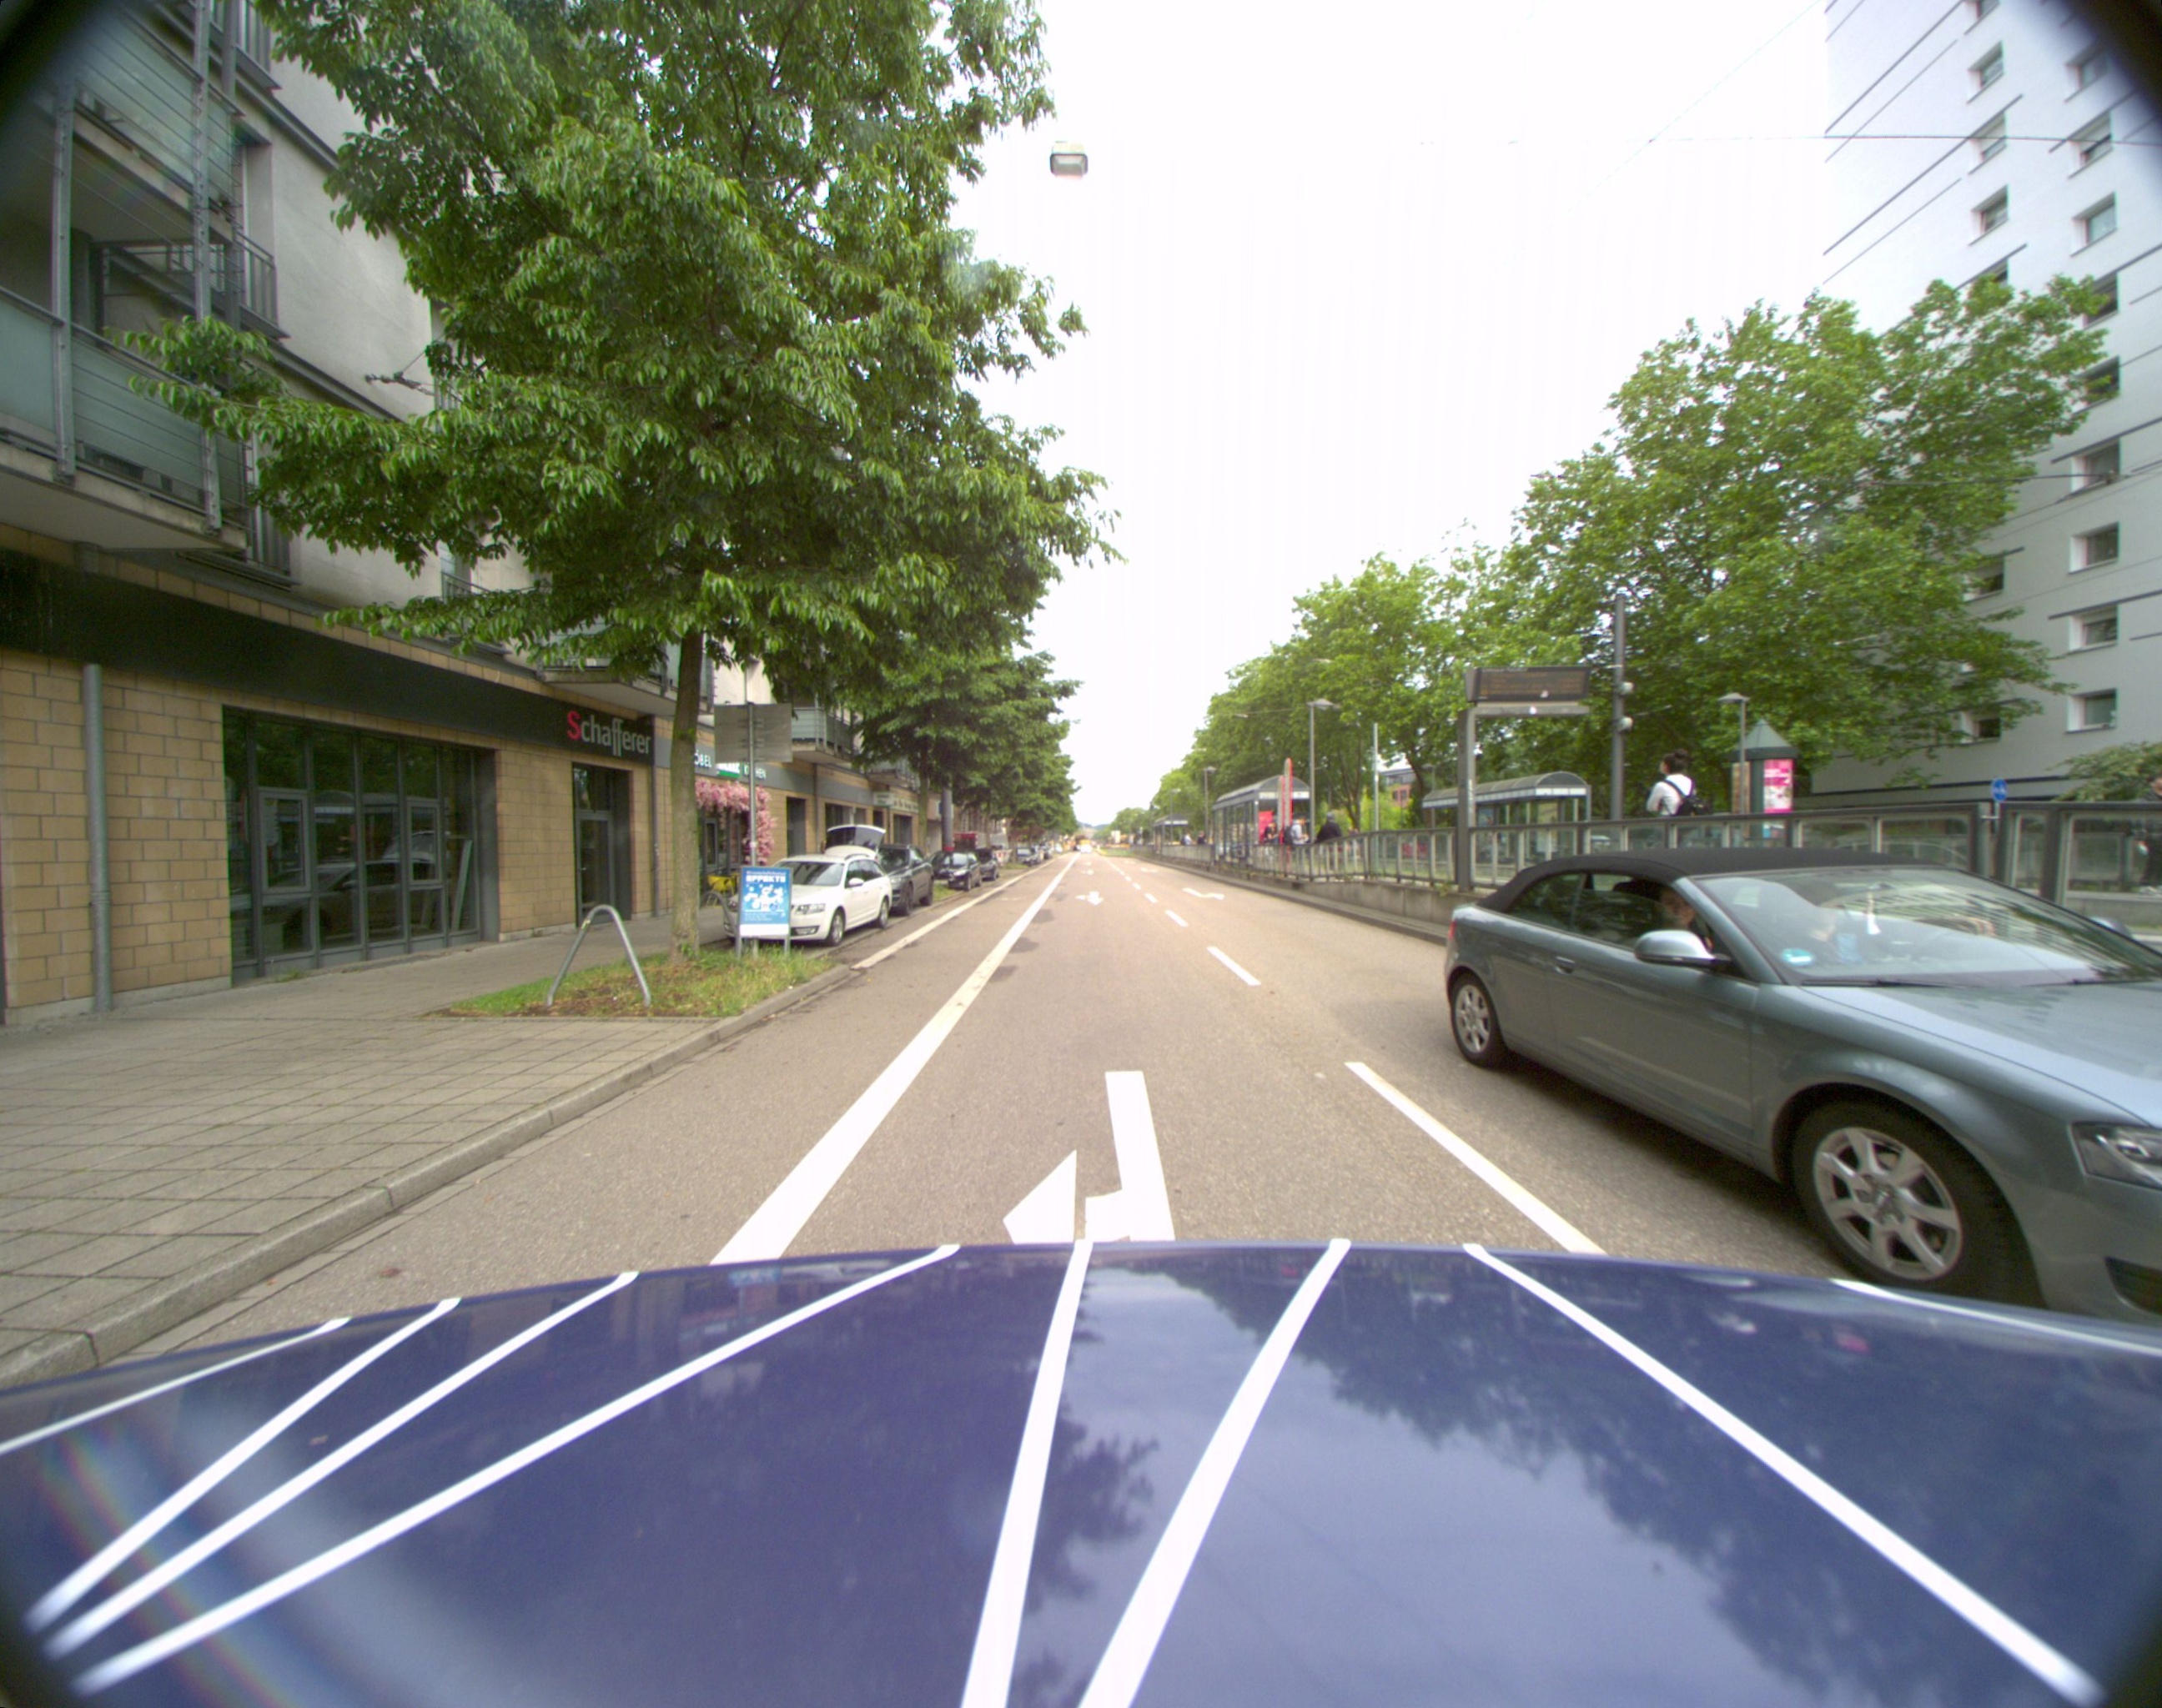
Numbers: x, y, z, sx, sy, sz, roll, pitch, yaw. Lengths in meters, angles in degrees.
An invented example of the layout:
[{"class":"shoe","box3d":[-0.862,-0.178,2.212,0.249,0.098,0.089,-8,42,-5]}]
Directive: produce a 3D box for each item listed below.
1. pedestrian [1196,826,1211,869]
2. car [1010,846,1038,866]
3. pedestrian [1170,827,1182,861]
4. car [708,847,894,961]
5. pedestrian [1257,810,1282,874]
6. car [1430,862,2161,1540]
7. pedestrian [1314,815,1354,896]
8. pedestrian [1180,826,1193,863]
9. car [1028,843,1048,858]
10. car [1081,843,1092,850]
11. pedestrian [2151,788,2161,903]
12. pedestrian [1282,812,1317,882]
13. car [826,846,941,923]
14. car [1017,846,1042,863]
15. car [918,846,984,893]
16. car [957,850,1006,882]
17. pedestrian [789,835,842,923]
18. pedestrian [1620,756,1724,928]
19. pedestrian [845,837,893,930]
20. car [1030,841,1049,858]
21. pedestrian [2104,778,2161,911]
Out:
[{"class":"pedestrian","box3d":[5.963,-0.327,37.055,0.585,2.039,0.821,-2,2,4]},{"class":"car","box3d":[-4.228,0.129,56.420,1.730,1.375,3.815,0,1,1]},{"class":"pedestrian","box3d":[5.881,-0.605,47.003,0.585,2.039,0.821,-2,2,4]},{"class":"car","box3d":[-4.723,0.737,13.502,1.730,1.652,4.103,1,1,1]},{"class":"pedestrian","box3d":[6.173,-0.403,24.888,0.585,2.039,0.821,-2,2,4]},{"class":"car","box3d":[3.263,0.810,3.334,1.637,1.367,4.013,-2,1,1]},{"class":"pedestrian","box3d":[5.716,0.025,17.157,0.661,1.781,0.535,-1,2,40]},{"class":"pedestrian","box3d":[5.862,-0.519,42.131,0.585,2.039,0.821,-2,2,4]},{"class":"car","box3d":[-4.117,-0.324,73.194,1.730,1.375,3.815,0,1,1]},{"class":"car","box3d":[1.004,-1.371,136.491,1.865,1.339,3.815,0,1,1]},{"class":"pedestrian","box3d":[15.923,-0.129,10.804,0.622,1.659,0.565,-2,2,1]},{"class":"pedestrian","box3d":[5.770,-0.192,20.093,0.683,1.781,0.821,-2,2,4]},{"class":"car","box3d":[-4.687,0.645,18.570,1.730,1.652,3.942,0,1,1]},{"class":"car","box3d":[-4.225,0.027,62.352,1.730,1.375,3.815,0,1,1]},{"class":"car","box3d":[-4.651,0.507,27.645,1.684,1.536,3.942,0,1,1]},{"class":"car","box3d":[-4.567,0.519,35.363,1.730,1.375,3.815,0,1,1]},{"class":"pedestrian","box3d":[-5.624,0.514,16.127,0.745,1.795,0.839,-2,2,0]},{"class":"pedestrian","box3d":[6.256,-0.122,8.071,0.662,1.741,0.534,-2,2,1]},{"class":"pedestrian","box3d":[-4.511,0.615,16.180,0.652,1.922,0.643,-2,2,16]},{"class":"car","box3d":[-4.292,-0.465,79.172,1.730,1.675,3.815,0,1,1]},{"class":"pedestrian","box3d":[14.728,-0.145,10.438,0.622,1.779,0.534,-2,2,1]}]
